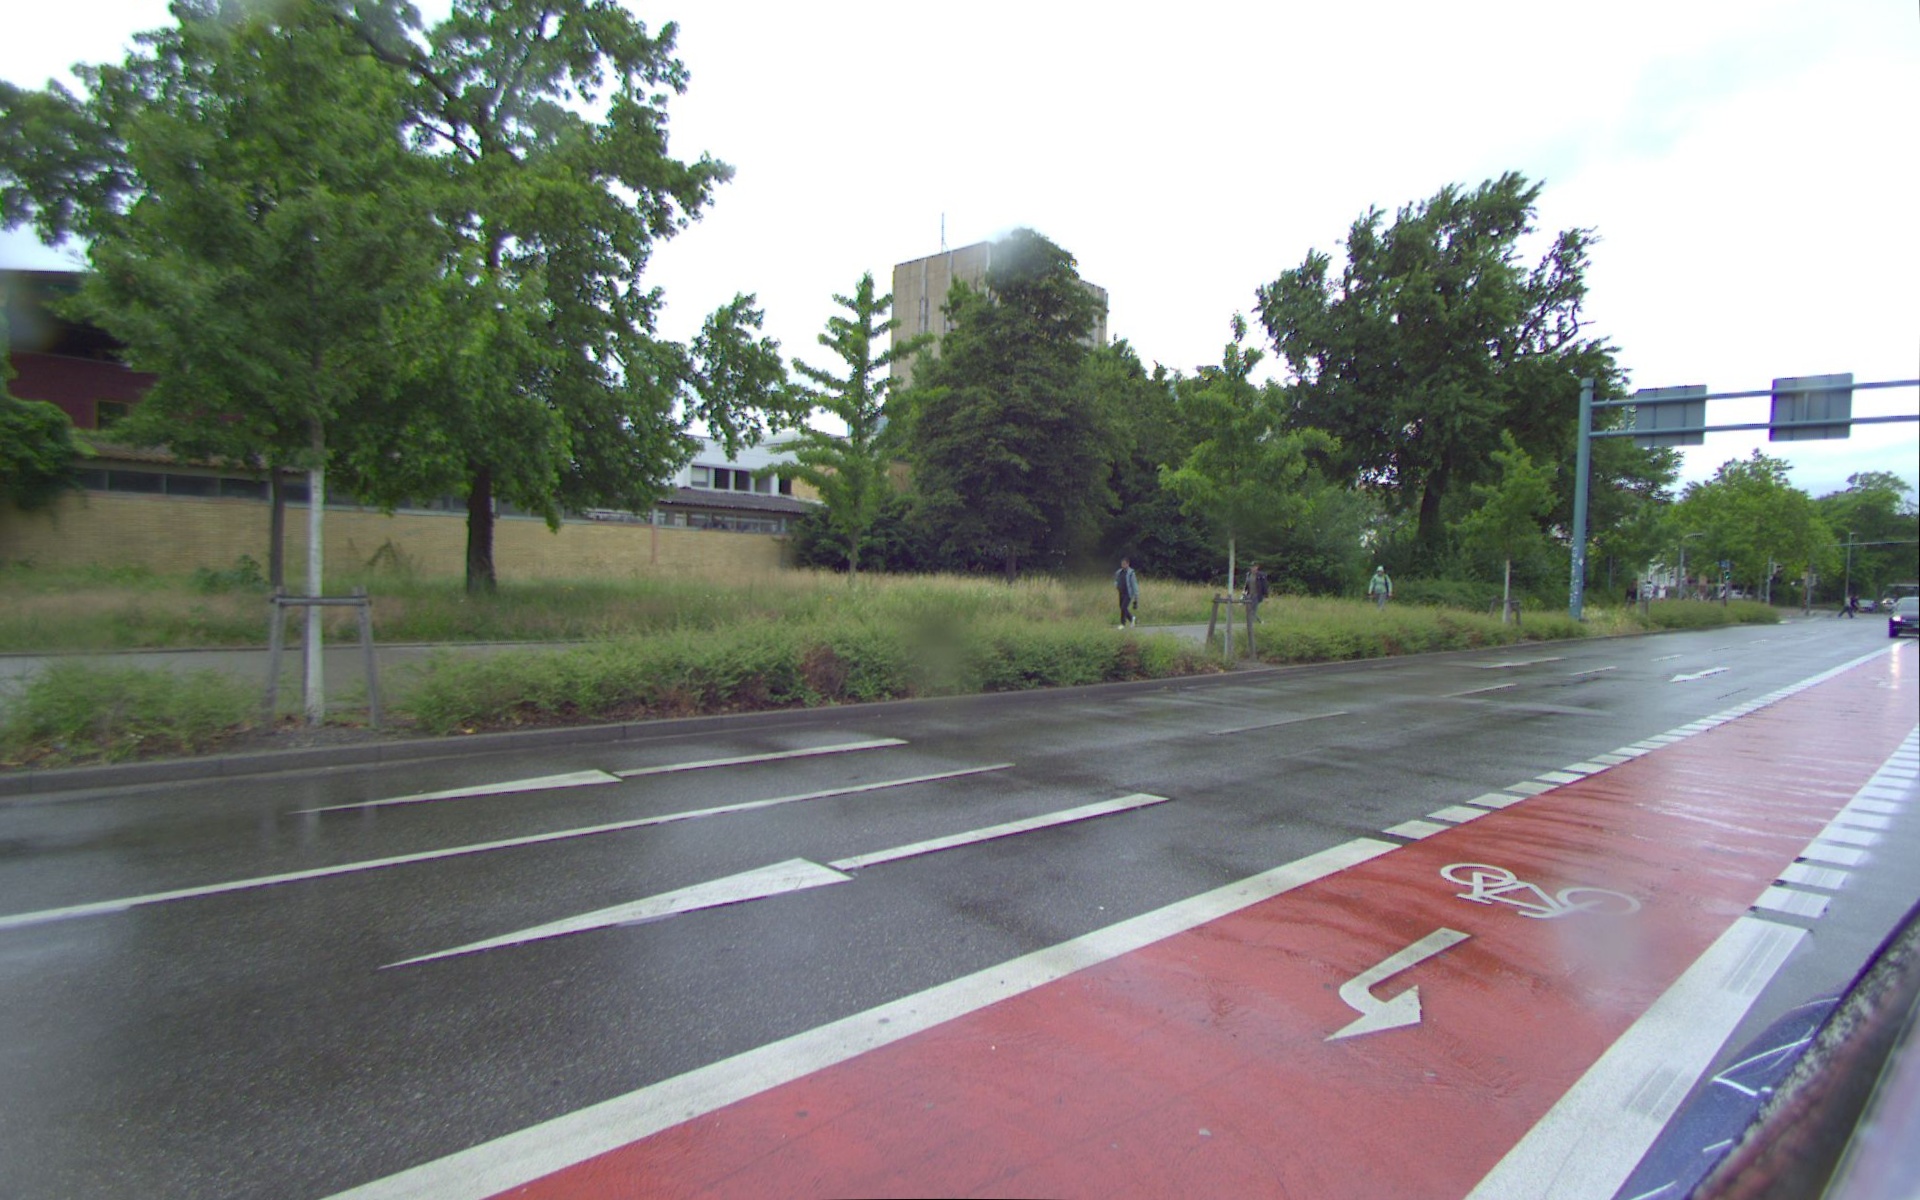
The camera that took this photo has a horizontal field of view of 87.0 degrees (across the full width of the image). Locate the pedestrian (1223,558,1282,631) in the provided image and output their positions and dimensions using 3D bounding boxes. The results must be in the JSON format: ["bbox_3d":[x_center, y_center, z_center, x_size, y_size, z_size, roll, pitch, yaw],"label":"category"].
[{"bbox_3d":[7.300,-0.150,25.240,1.026,1.769,0.936,1,2,-38],"label":"pedestrian"}]

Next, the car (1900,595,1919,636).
[{"bbox_3d":[34.795,0.551,36.156,1.657,1.381,4.042,4,2,44],"label":"car"}]

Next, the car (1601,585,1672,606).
[{"bbox_3d":[53.174,-0.371,79.580,4.375,1.353,1.747,4,5,43],"label":"car"}]

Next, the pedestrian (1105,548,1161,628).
[{"bbox_3d":[4.067,-0.292,23.828,0.813,1.819,0.936,1,2,-37],"label":"pedestrian"}]

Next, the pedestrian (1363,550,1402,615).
[{"bbox_3d":[13.589,-0.569,32.563,0.813,2.038,0.793,1,2,-38],"label":"pedestrian"}]

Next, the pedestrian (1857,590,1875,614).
[{"bbox_3d":[70.710,0.171,78.949,0.611,1.847,0.789,1,2,-23],"label":"pedestrian"}]

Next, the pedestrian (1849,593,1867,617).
[{"bbox_3d":[69.626,0.375,78.488,0.611,1.847,0.789,1,1,-20],"label":"pedestrian"}]

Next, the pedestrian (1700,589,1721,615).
[{"bbox_3d":[49.749,0.129,67.064,0.868,1.627,0.857,3,2,24],"label":"pedestrian"}]

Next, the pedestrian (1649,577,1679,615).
[{"bbox_3d":[33.407,-0.197,48.016,0.814,1.743,0.935,4,-2,-39],"label":"pedestrian"}]

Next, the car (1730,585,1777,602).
[{"bbox_3d":[97.492,-0.825,124.411,4.405,1.895,1.615,4,2,39],"label":"car"}]

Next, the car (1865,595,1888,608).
[{"bbox_3d":[96.325,0.140,106.329,1.657,1.282,4.042,4,3,44],"label":"car"}]

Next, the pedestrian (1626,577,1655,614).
[{"bbox_3d":[32.878,-0.238,48.885,0.814,1.725,0.935,4,-2,-39],"label":"pedestrian"}]

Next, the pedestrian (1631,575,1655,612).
[{"bbox_3d":[35.486,-0.343,52.556,0.835,1.882,0.732,1,2,-38],"label":"pedestrian"}]

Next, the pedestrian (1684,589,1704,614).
[{"bbox_3d":[48.905,0.082,67.421,0.868,1.627,0.856,3,2,25],"label":"pedestrian"}]
